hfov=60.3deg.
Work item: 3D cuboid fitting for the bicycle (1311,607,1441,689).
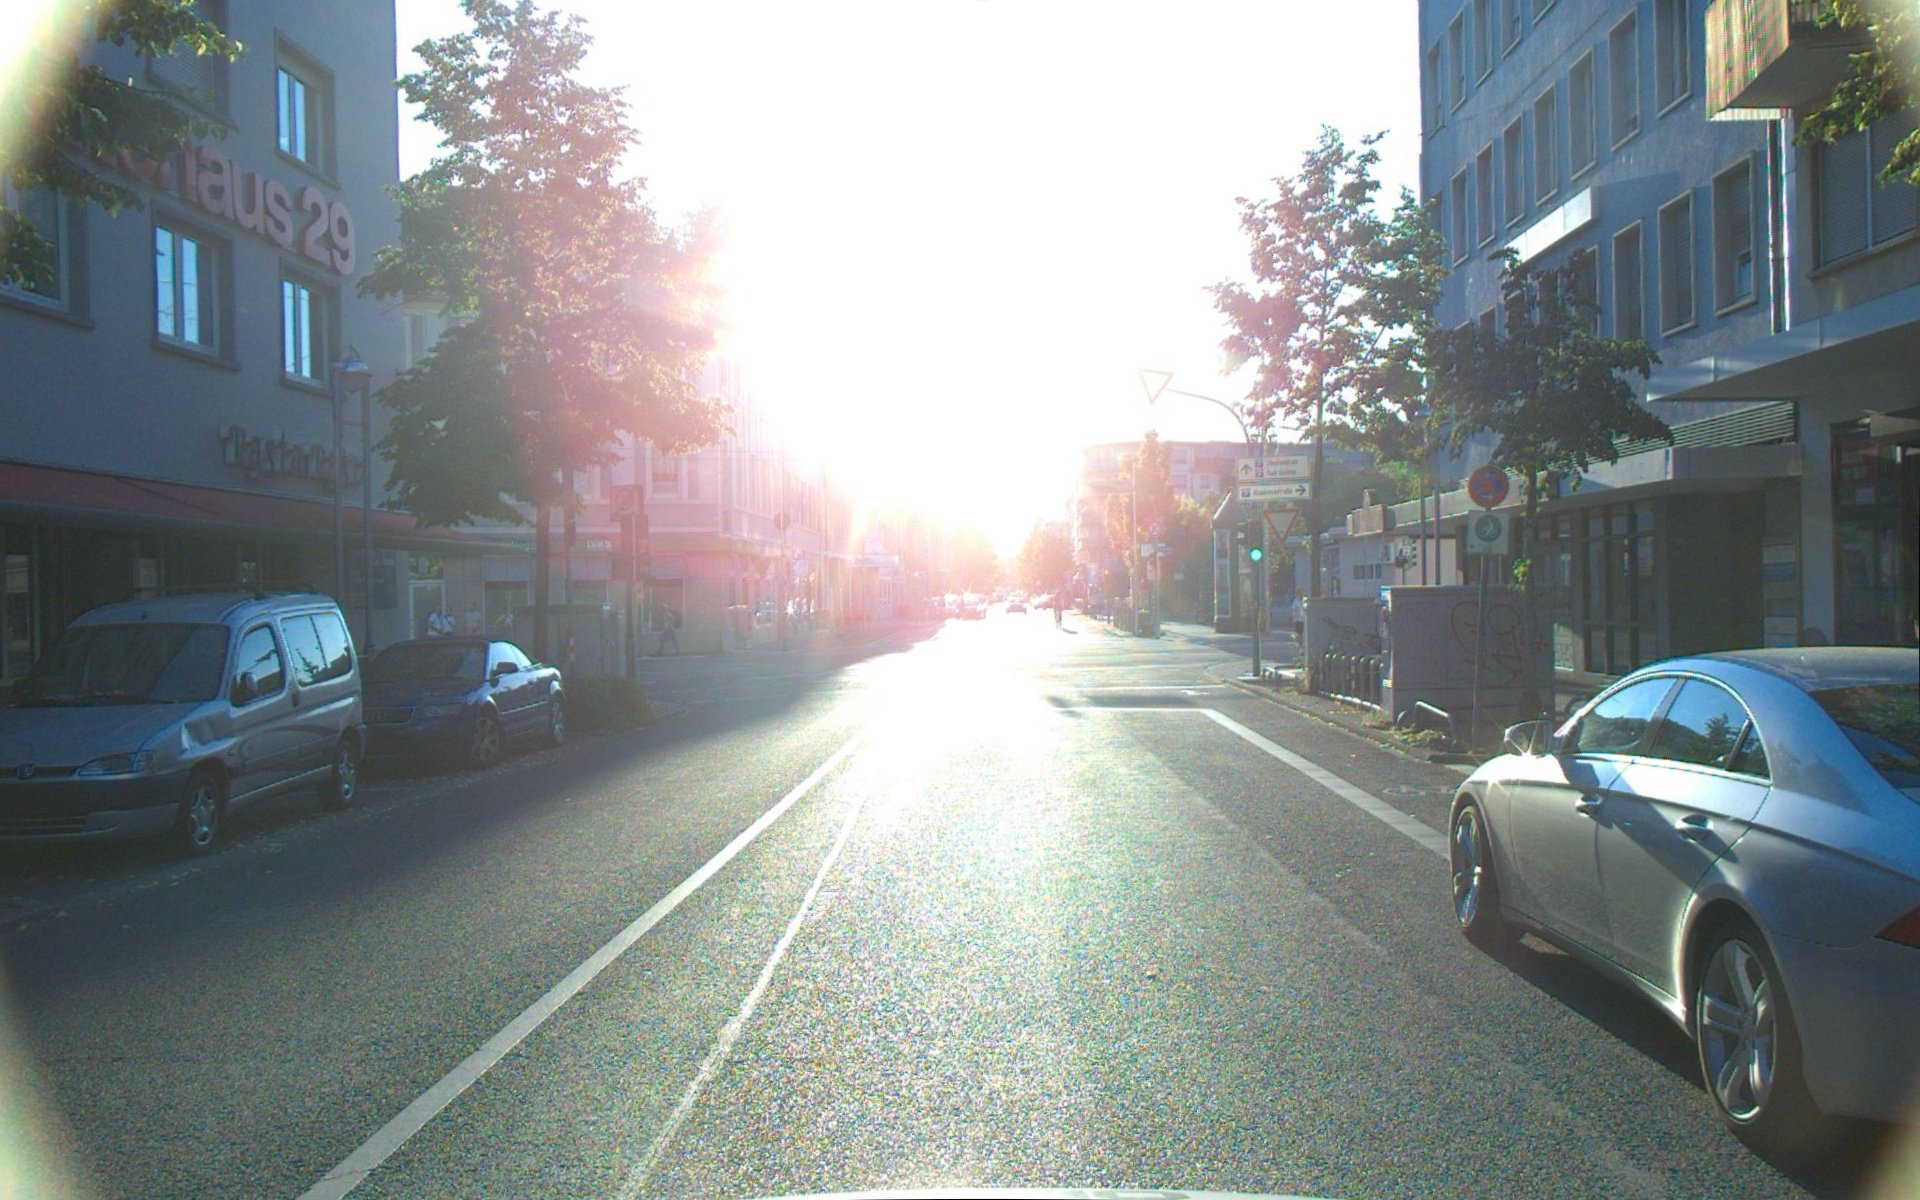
[{"bbox_3d":[6.420,0.739,25.590,1.872,1.224,0.470,-1,0,3],"label":"bicycle"}]

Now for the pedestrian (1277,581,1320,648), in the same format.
[{"bbox_3d":[9.165,0.395,44.811,0.789,1.756,0.992,-3,-1,30],"label":"pedestrian"}]

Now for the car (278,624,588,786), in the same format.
[{"bbox_3d":[-5.614,1.056,18.246,1.875,1.410,4.383,-2,0,1],"label":"car"}]

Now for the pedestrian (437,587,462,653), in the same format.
[{"bbox_3d":[-15.329,0.606,49.628,0.523,1.962,0.632,-1,0,-33],"label":"pedestrian"}]

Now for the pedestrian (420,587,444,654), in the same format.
[{"bbox_3d":[-15.701,0.605,49.185,0.490,1.962,0.569,-1,0,-33],"label":"pedestrian"}]

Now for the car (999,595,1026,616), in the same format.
[{"bbox_3d":[4.577,0.456,142.668,2.256,1.707,5.534,-2,0,2],"label":"car"}]

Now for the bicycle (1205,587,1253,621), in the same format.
[{"bbox_3d":[12.735,0.182,78.369,2.176,1.549,0.681,-2,0,3],"label":"bicycle"}]

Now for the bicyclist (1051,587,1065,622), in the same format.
[{"bbox_3d":[5.009,0.222,84.390,0.664,1.737,0.670,-2,0,3],"label":"bicyclist"}]

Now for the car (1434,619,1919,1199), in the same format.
[{"bbox_3d":[3.179,0.816,5.858,1.763,1.402,4.552,1,0,1],"label":"car"}]

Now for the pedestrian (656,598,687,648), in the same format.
[{"bbox_3d":[-9.301,0.736,53.329,0.854,1.575,0.695,-2,0,-20],"label":"pedestrian"}]

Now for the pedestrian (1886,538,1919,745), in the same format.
[{"bbox_3d":[8.889,0.370,14.918,0.693,1.839,0.650,1,0,2],"label":"pedestrian"}]

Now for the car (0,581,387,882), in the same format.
[{"bbox_3d":[-5.916,0.821,12.304,1.876,1.818,4.147,-2,0,-1],"label":"car"}]

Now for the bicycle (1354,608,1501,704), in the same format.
[{"bbox_3d":[6.311,0.751,22.337,1.877,1.224,0.469,-1,0,-9],"label":"bicycle"}]

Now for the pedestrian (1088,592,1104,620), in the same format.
[{"bbox_3d":[8.879,0.395,107.854,0.787,1.817,0.994,-3,-1,16],"label":"pedestrian"}]

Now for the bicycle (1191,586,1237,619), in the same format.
[{"bbox_3d":[12.516,0.134,81.525,2.175,1.549,0.681,-2,0,7],"label":"bicycle"}]

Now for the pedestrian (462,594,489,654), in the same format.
[{"bbox_3d":[-14.515,0.706,49.541,0.687,1.776,0.636,-1,0,-20],"label":"pedestrian"}]

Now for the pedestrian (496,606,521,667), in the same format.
[{"bbox_3d":[-13.591,1.098,49.772,0.636,1.809,0.668,-1,0,-20],"label":"pedestrian"}]

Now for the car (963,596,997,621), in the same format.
[{"bbox_3d":[1.496,0.609,119.736,2.256,1.707,5.534,-2,0,2],"label":"car"}]

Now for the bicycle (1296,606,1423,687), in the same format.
[{"bbox_3d":[6.293,0.731,26.088,1.872,1.224,0.470,-1,0,3],"label":"bicycle"}]

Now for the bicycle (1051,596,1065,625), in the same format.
[{"bbox_3d":[5.018,0.545,84.418,0.664,1.426,2.231,-2,0,4],"label":"bicycle"}]

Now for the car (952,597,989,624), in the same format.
[{"bbox_3d":[0.755,0.689,112.163,2.256,1.707,5.534,-2,0,2],"label":"car"}]
